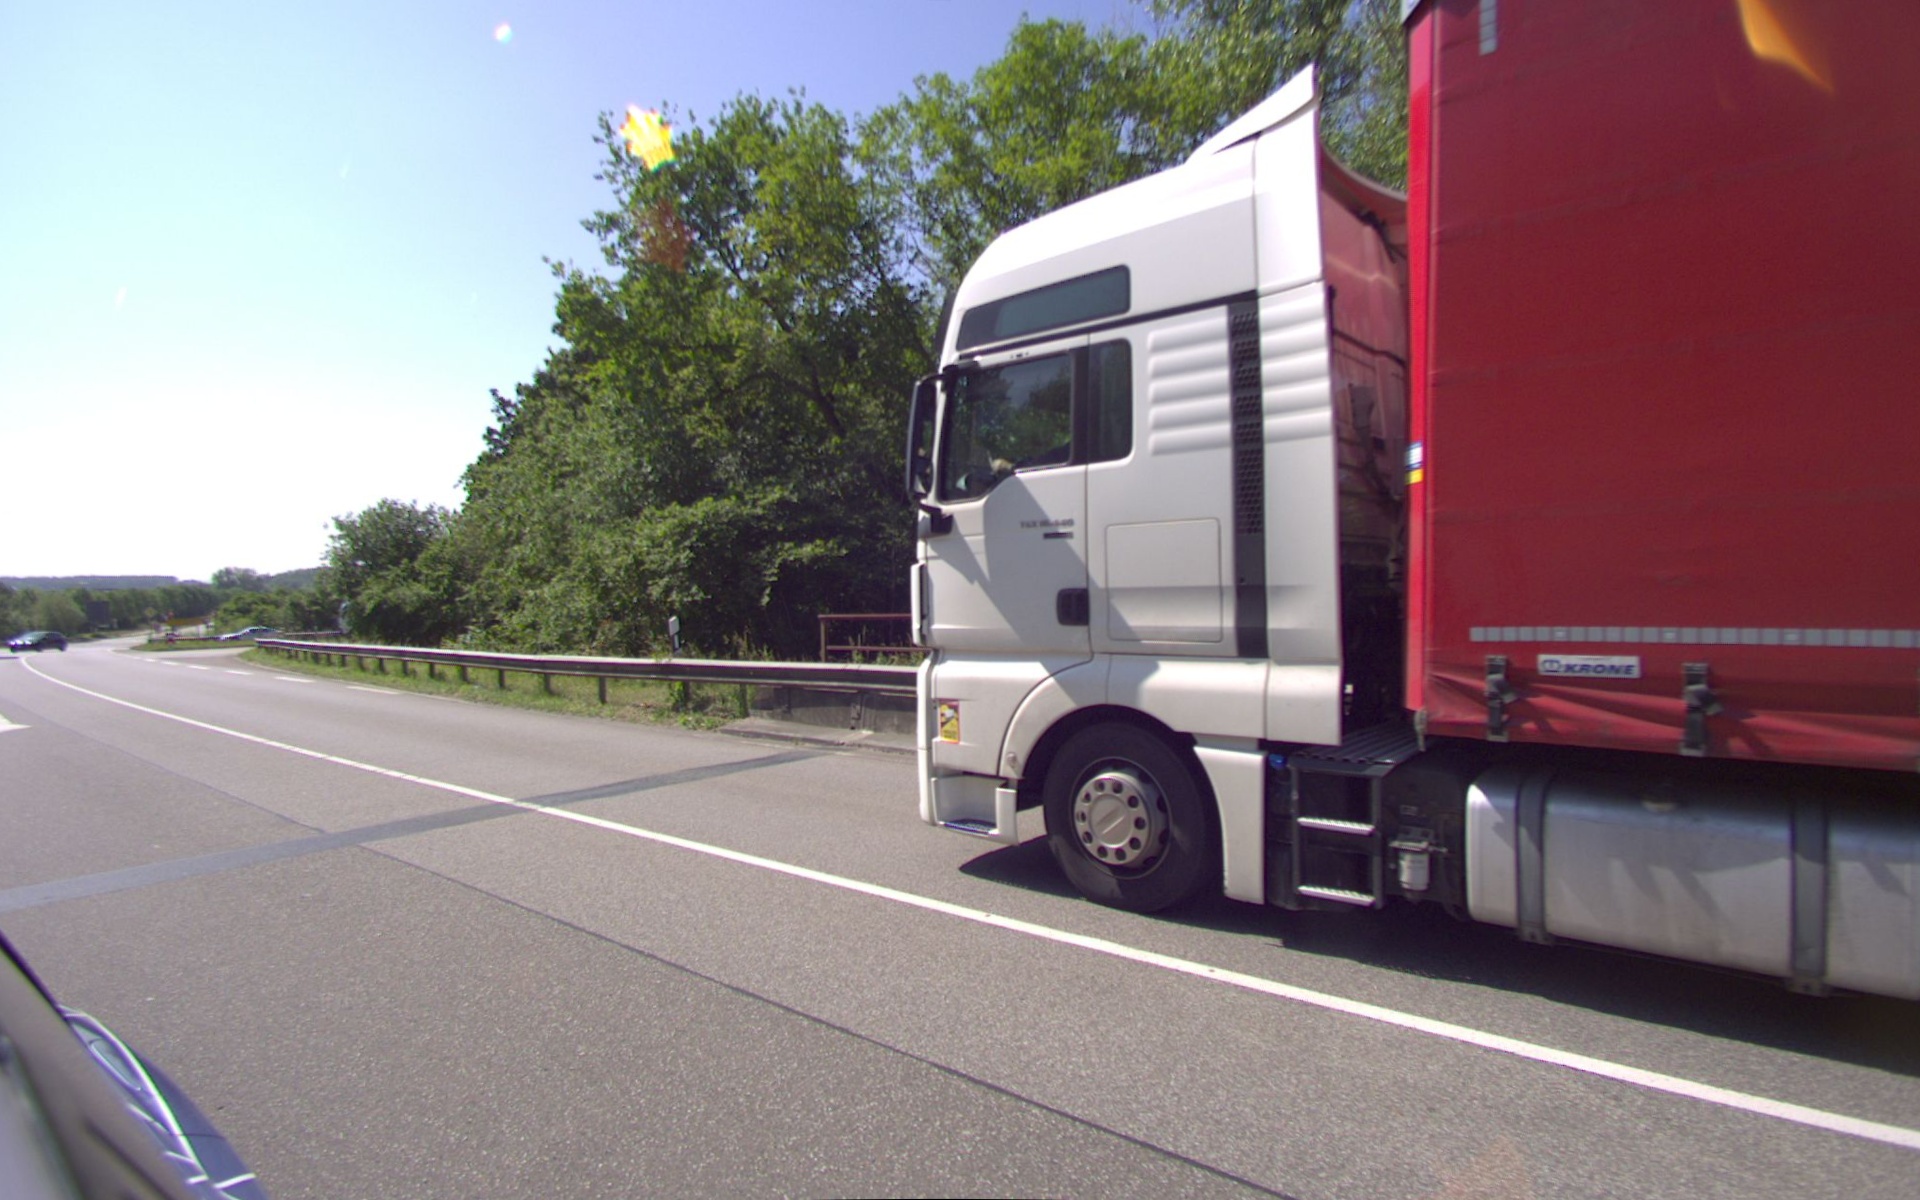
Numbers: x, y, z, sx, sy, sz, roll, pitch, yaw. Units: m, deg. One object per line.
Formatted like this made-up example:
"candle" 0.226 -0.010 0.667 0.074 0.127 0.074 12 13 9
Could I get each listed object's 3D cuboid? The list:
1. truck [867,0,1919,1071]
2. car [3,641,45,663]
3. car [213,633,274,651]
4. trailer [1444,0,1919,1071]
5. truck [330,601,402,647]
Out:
"truck" 2.631 -0.639 4.795 5.847 4.065 2.742 -2 -2 38
"car" -67.063 3.700 72.548 1.759 1.425 4.009 -1 -1 -36
"car" -62.981 3.646 88.988 4.308 1.396 1.792 -1 -1 -39
"trailer" 8.161 -0.739 0.360 14.182 4.093 2.741 -1 -1 39
"truck" -57.603 2.232 98.197 5.641 4.269 2.947 -1 1 -39
